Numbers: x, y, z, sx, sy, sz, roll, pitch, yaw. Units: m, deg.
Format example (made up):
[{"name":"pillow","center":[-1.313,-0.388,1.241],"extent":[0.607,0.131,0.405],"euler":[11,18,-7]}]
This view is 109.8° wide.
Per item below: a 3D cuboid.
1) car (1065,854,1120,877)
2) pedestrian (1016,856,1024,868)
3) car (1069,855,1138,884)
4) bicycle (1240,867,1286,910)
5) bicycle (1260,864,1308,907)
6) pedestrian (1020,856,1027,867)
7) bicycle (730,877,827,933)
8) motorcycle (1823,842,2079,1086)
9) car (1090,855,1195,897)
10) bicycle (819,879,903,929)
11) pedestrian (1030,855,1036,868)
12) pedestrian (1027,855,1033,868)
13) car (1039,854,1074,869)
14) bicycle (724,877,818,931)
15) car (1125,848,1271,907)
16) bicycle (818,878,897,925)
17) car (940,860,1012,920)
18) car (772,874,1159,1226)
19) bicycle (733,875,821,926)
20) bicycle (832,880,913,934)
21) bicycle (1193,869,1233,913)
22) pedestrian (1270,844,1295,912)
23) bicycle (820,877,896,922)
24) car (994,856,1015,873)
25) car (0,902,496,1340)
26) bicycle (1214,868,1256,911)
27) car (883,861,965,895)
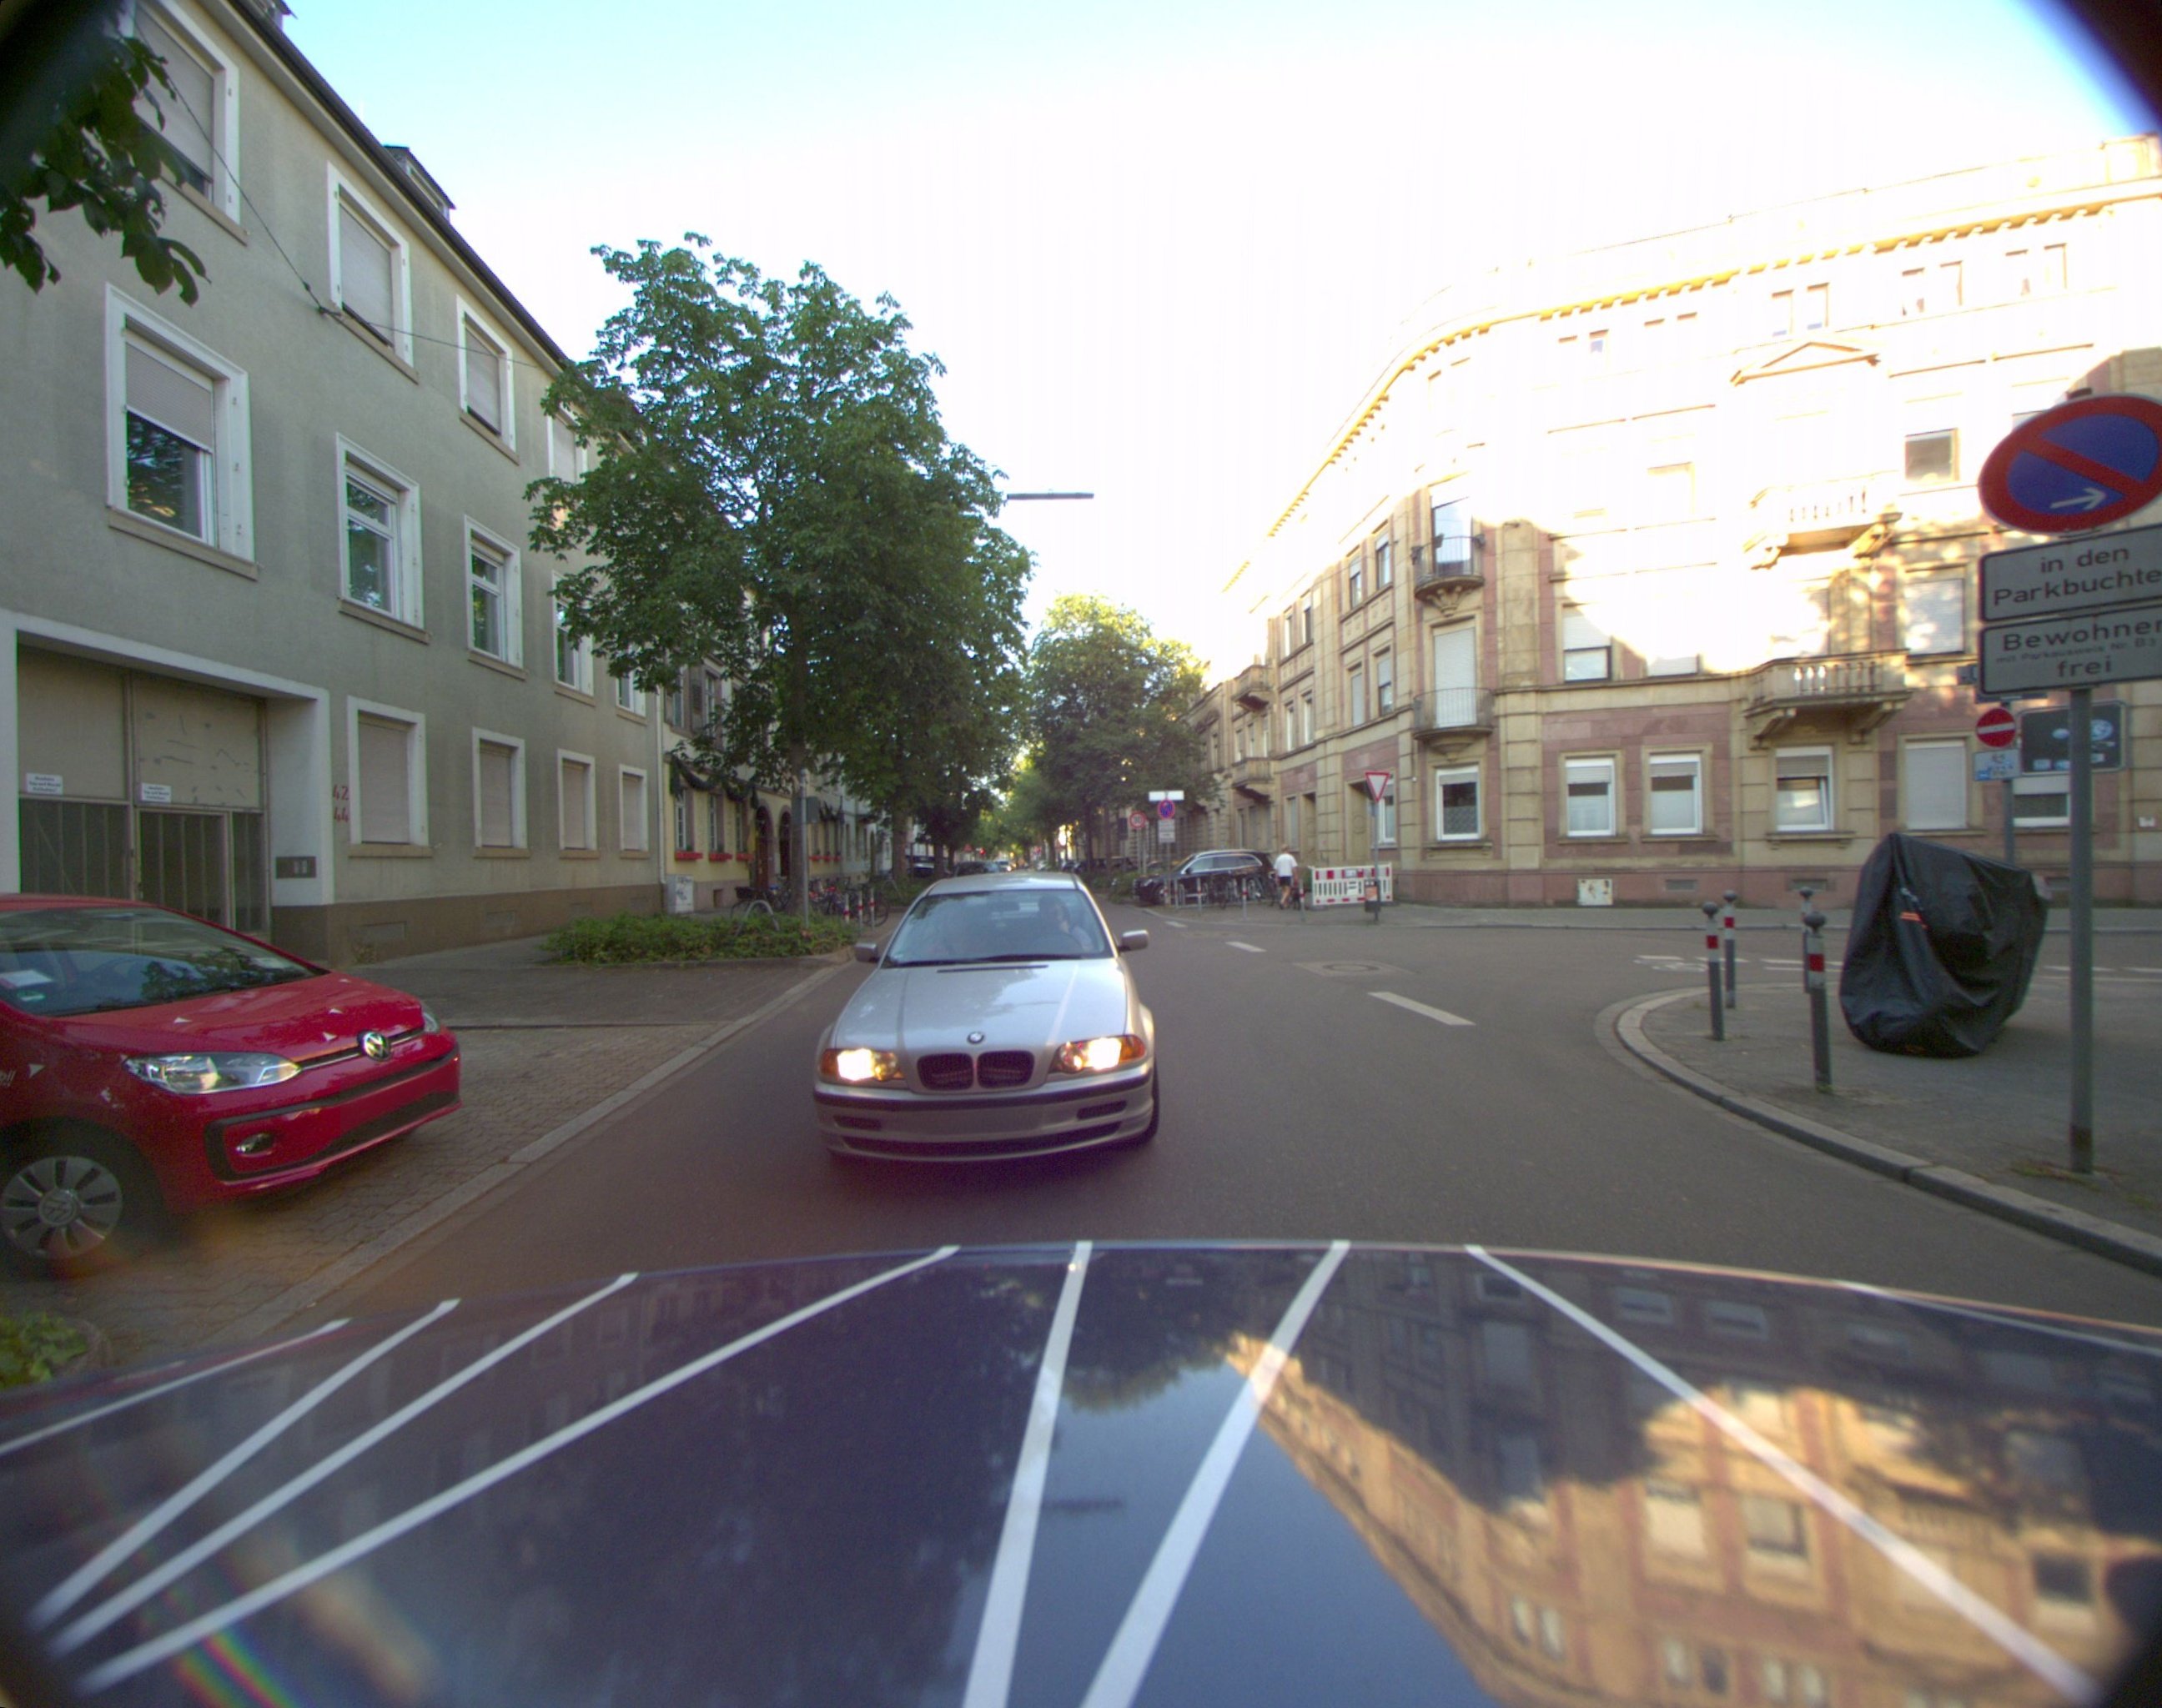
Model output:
[{"name":"car","center":[0.861,0.873,60.853],"extent":[4.245,1.749,1.741],"euler":[-1,0,-5]},{"name":"pedestrian","center":[-10.395,1.360,129.416],"extent":[1.185,2.002,1.020],"euler":[-2,1,-9]},{"name":"car","center":[1.408,0.963,48.383],"extent":[4.245,1.749,1.741],"euler":[-1,0,-5]},{"name":"bicycle","center":[5.175,0.962,21.772],"extent":[0.562,1.144,2.038],"euler":[-1,0,-8]},{"name":"bicycle","center":[5.793,0.882,21.822],"extent":[0.562,1.144,2.038],"euler":[-1,0,-8]},{"name":"pedestrian","center":[-10.023,1.314,132.407],"extent":[1.254,2.002,1.123],"euler":[-2,1,-9]},{"name":"bicycle","center":[-7.035,1.175,17.751],"extent":[2.030,1.220,0.535],"euler":[-1,0,-16]},{"name":"motorcycle","center":[6.495,0.680,5.639],"extent":[2.286,1.496,0.816],"euler":[-1,1,-30]},{"name":"car","center":[2.528,0.906,32.089],"extent":[4.243,1.668,1.742],"euler":[-1,0,-1]},{"name":"bicycle","center":[-5.662,1.286,19.640],"extent":[2.029,1.220,0.535],"euler":[-1,0,-11]},{"name":"pedestrian","center":[-6.781,1.119,107.911],"extent":[0.712,1.843,0.676],"euler":[-1,1,-13]},{"name":"pedestrian","center":[-7.337,1.111,108.640],"extent":[0.712,1.843,0.676],"euler":[-1,1,-13]},{"name":"car","center":[-3.006,0.875,92.538],"extent":[4.245,1.749,1.741],"euler":[-1,0,-5]},{"name":"bicycle","center":[-7.495,1.185,18.453],"extent":[2.030,1.220,0.535],"euler":[-1,0,-16]},{"name":"car","center":[3.723,0.729,24.659],"extent":[4.423,1.771,1.741],"euler":[-1,0,-2]},{"name":"bicycle","center":[-6.129,1.290,20.921],"extent":[2.029,1.220,0.535],"euler":[-1,0,-11]},{"name":"car","center":[-3.016,0.992,22.500],"extent":[1.806,1.543,3.998],"euler":[-1,0,-4]},{"name":"car","center":[-0.490,0.943,5.635],"extent":[1.711,1.433,4.436],"euler":[-1,0,1]},{"name":"bicycle","center":[-7.816,1.185,19.599],"extent":[2.029,1.220,0.535],"euler":[-1,0,-13]},{"name":"bicycle","center":[-5.038,1.260,18.400],"extent":[1.849,1.220,0.535],"euler":[-1,0,-16]},{"name":"bicycle","center":[3.743,1.029,21.662],"extent":[0.562,1.144,2.038],"euler":[-1,0,-6]},{"name":"pedestrian","center":[5.373,0.632,20.289],"extent":[0.572,1.797,0.652],"euler":[-1,1,11]},{"name":"bicycle","center":[-6.370,1.289,21.791],"extent":[2.029,1.220,0.535],"euler":[-1,0,-11]},{"name":"car","center":[-7.368,0.961,73.519],"extent":[1.806,1.543,3.998],"euler":[-1,0,-4]},{"name":"car","center":[-5.166,1.045,3.428],"extent":[3.621,1.468,1.663],"euler":[-1,0,-7]},{"name":"bicycle","center":[4.381,0.985,21.730],"extent":[0.562,1.144,2.038],"euler":[-1,0,-6]},{"name":"car","center":[-8.557,1.280,41.672],"extent":[4.245,1.729,1.741],"euler":[-1,0,-6]}]
